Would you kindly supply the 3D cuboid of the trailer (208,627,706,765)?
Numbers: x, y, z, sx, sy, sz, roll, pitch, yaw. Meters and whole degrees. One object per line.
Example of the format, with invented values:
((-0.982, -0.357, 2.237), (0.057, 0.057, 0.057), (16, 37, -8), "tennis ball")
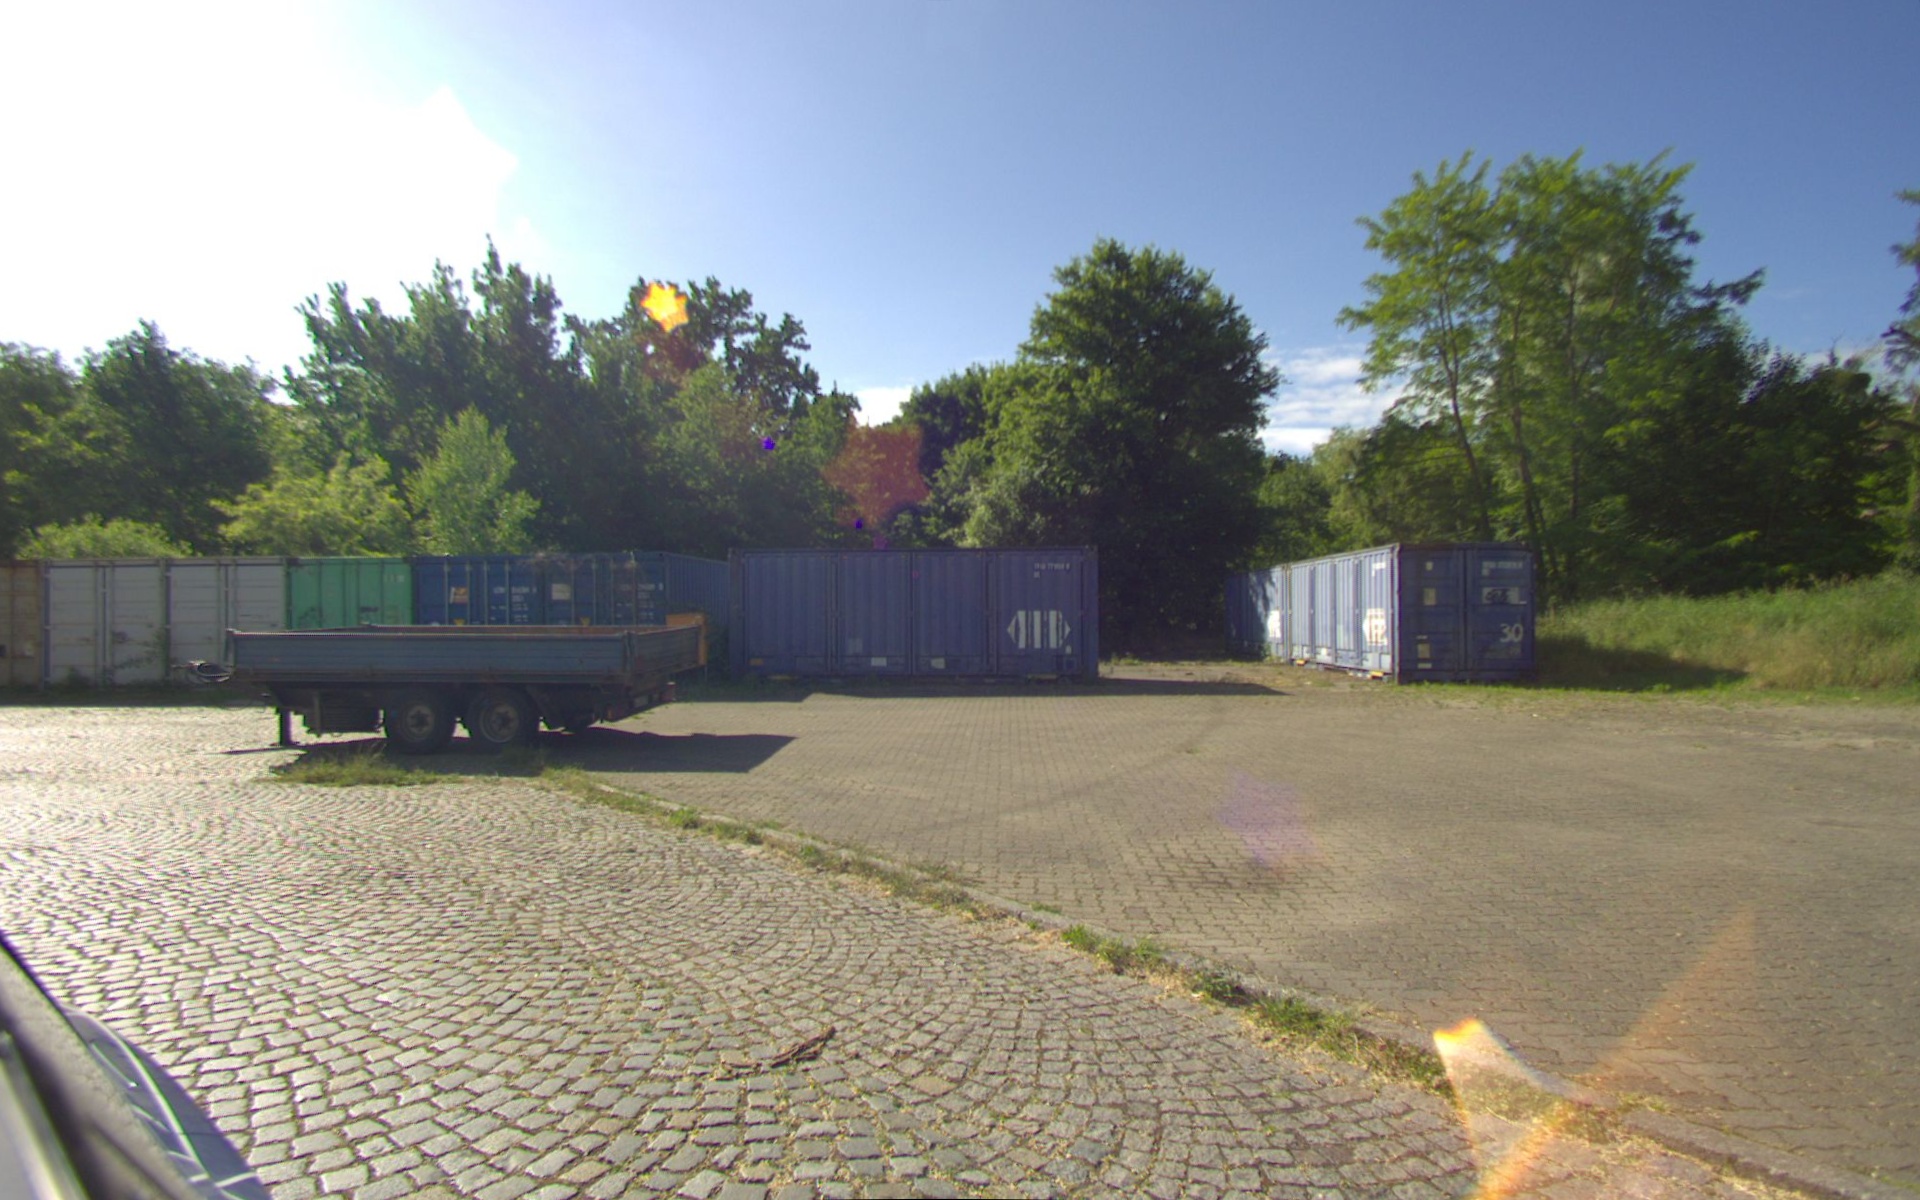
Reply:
((-5.853, 1.072, 12.370), (4.797, 1.425, 2.647), (0, -1, 3), "trailer")
